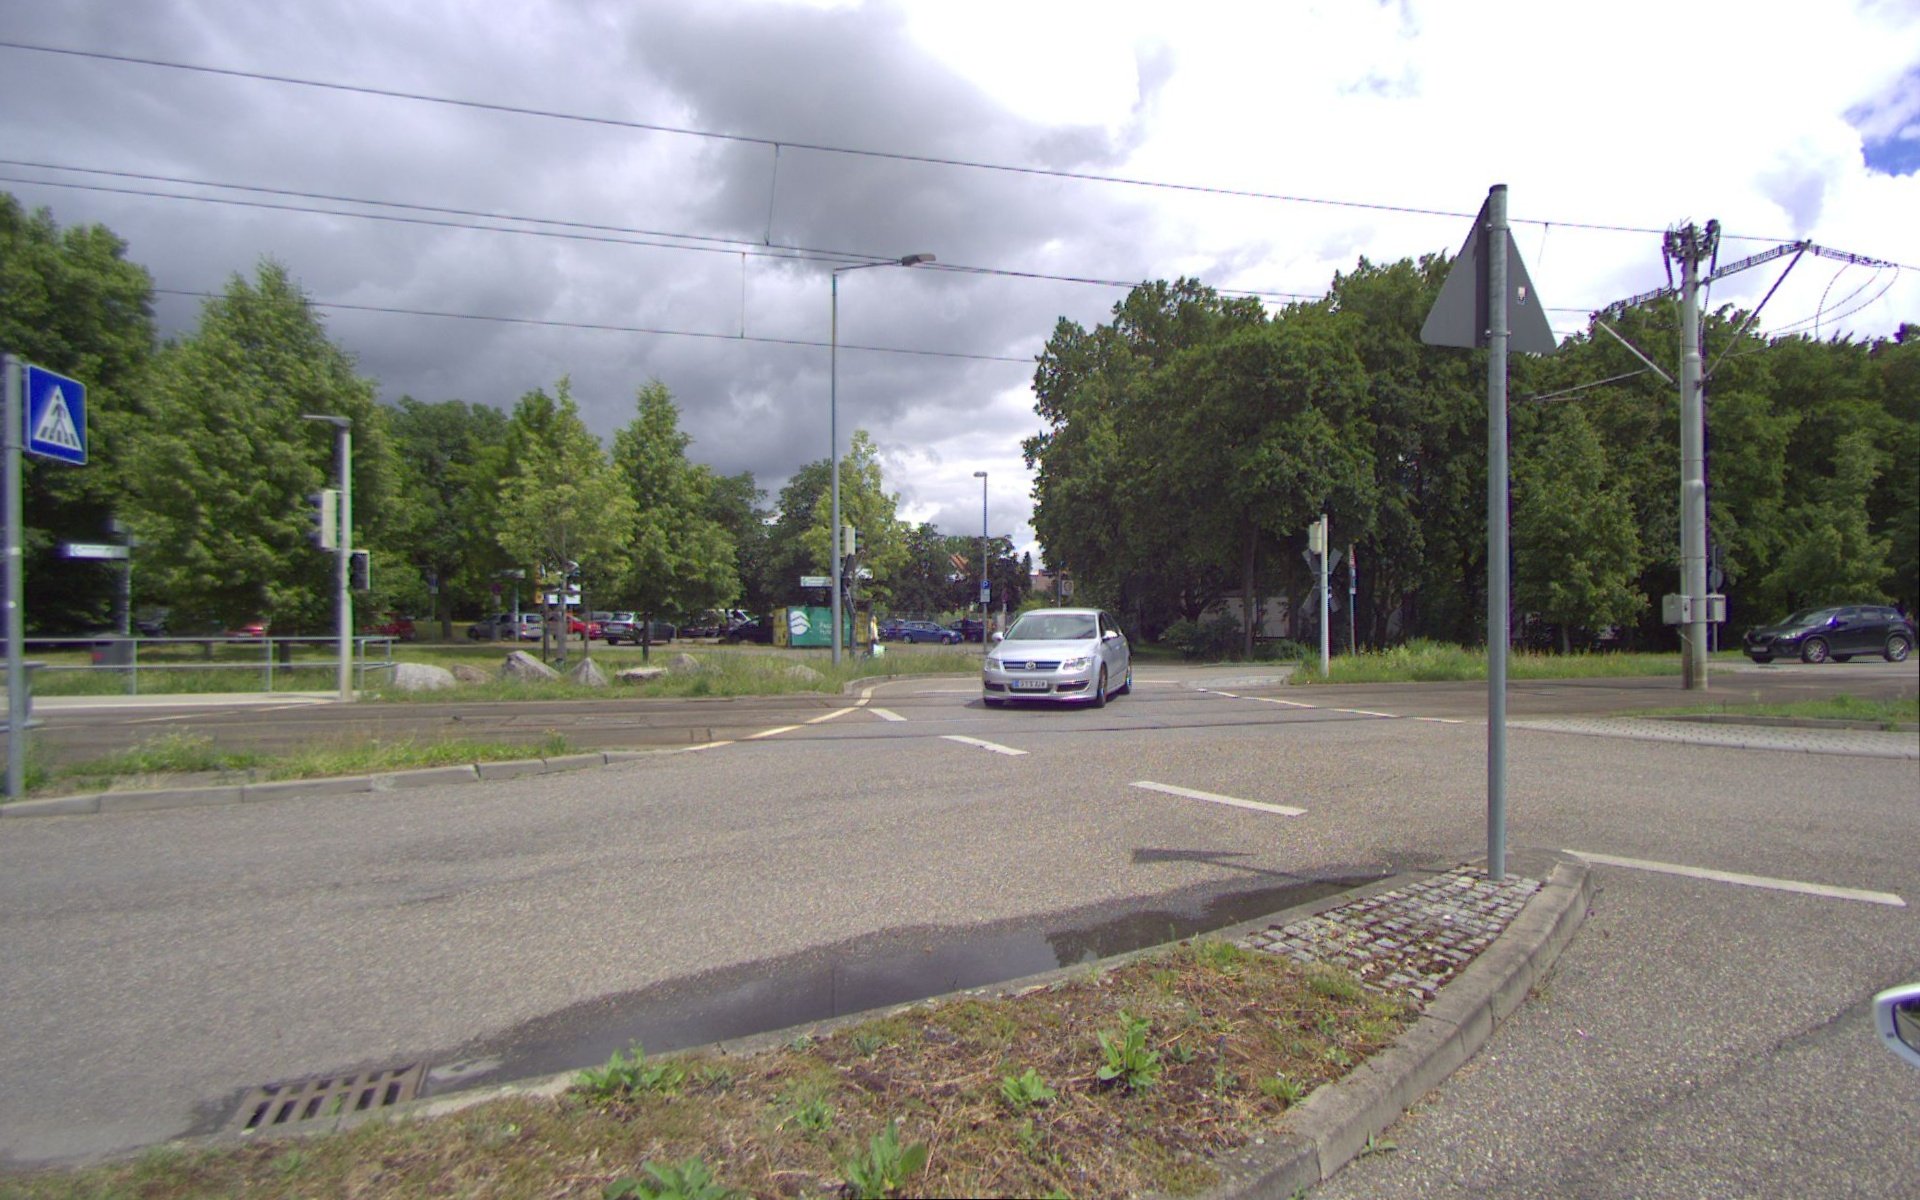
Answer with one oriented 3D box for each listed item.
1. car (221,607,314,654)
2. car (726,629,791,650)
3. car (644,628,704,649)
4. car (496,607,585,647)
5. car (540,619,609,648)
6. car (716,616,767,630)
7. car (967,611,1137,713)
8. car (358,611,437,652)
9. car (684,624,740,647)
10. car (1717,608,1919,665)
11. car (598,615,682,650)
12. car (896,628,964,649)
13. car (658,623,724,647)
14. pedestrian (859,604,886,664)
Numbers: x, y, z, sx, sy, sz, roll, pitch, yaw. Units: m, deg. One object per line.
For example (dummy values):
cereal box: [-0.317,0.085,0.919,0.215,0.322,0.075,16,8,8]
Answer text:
car: [-31.340,1.360,45.580,1.892,2.040,3.994,-1,-1,-9]
car: [-10.754,2.096,53.643,3.042,1.096,1.417,-1,-1,15]
car: [-18.495,2.483,65.021,3.424,1.270,1.604,-1,-1,17]
car: [-22.017,1.416,52.757,3.920,2.040,2.000,-1,-1,17]
car: [-21.490,1.864,56.018,3.410,1.587,1.493,-1,-1,16]
car: [-16.331,1.710,75.204,3.383,1.034,1.632,-1,-1,20]
car: [1.548,0.894,15.478,1.845,1.368,3.832,-1,-2,17]
car: [-26.664,1.473,47.778,1.964,1.859,3.994,-1,-1,-9]
car: [-17.276,2.493,69.992,3.514,1.525,1.515,-1,-1,17]
car: [25.156,1.052,29.568,4.334,1.618,1.999,0,-1,-3]
car: [-15.991,1.614,50.411,1.961,1.660,4.139,-1,-1,19]
car: [-1.918,2.492,64.957,3.920,1.243,2.051,-1,-1,16]
car: [-18.136,2.348,67.736,3.920,1.592,1.918,-1,-1,17]
pedestrian: [-3.024,1.183,34.873,0.805,2.040,0.963,-1,-1,2]
